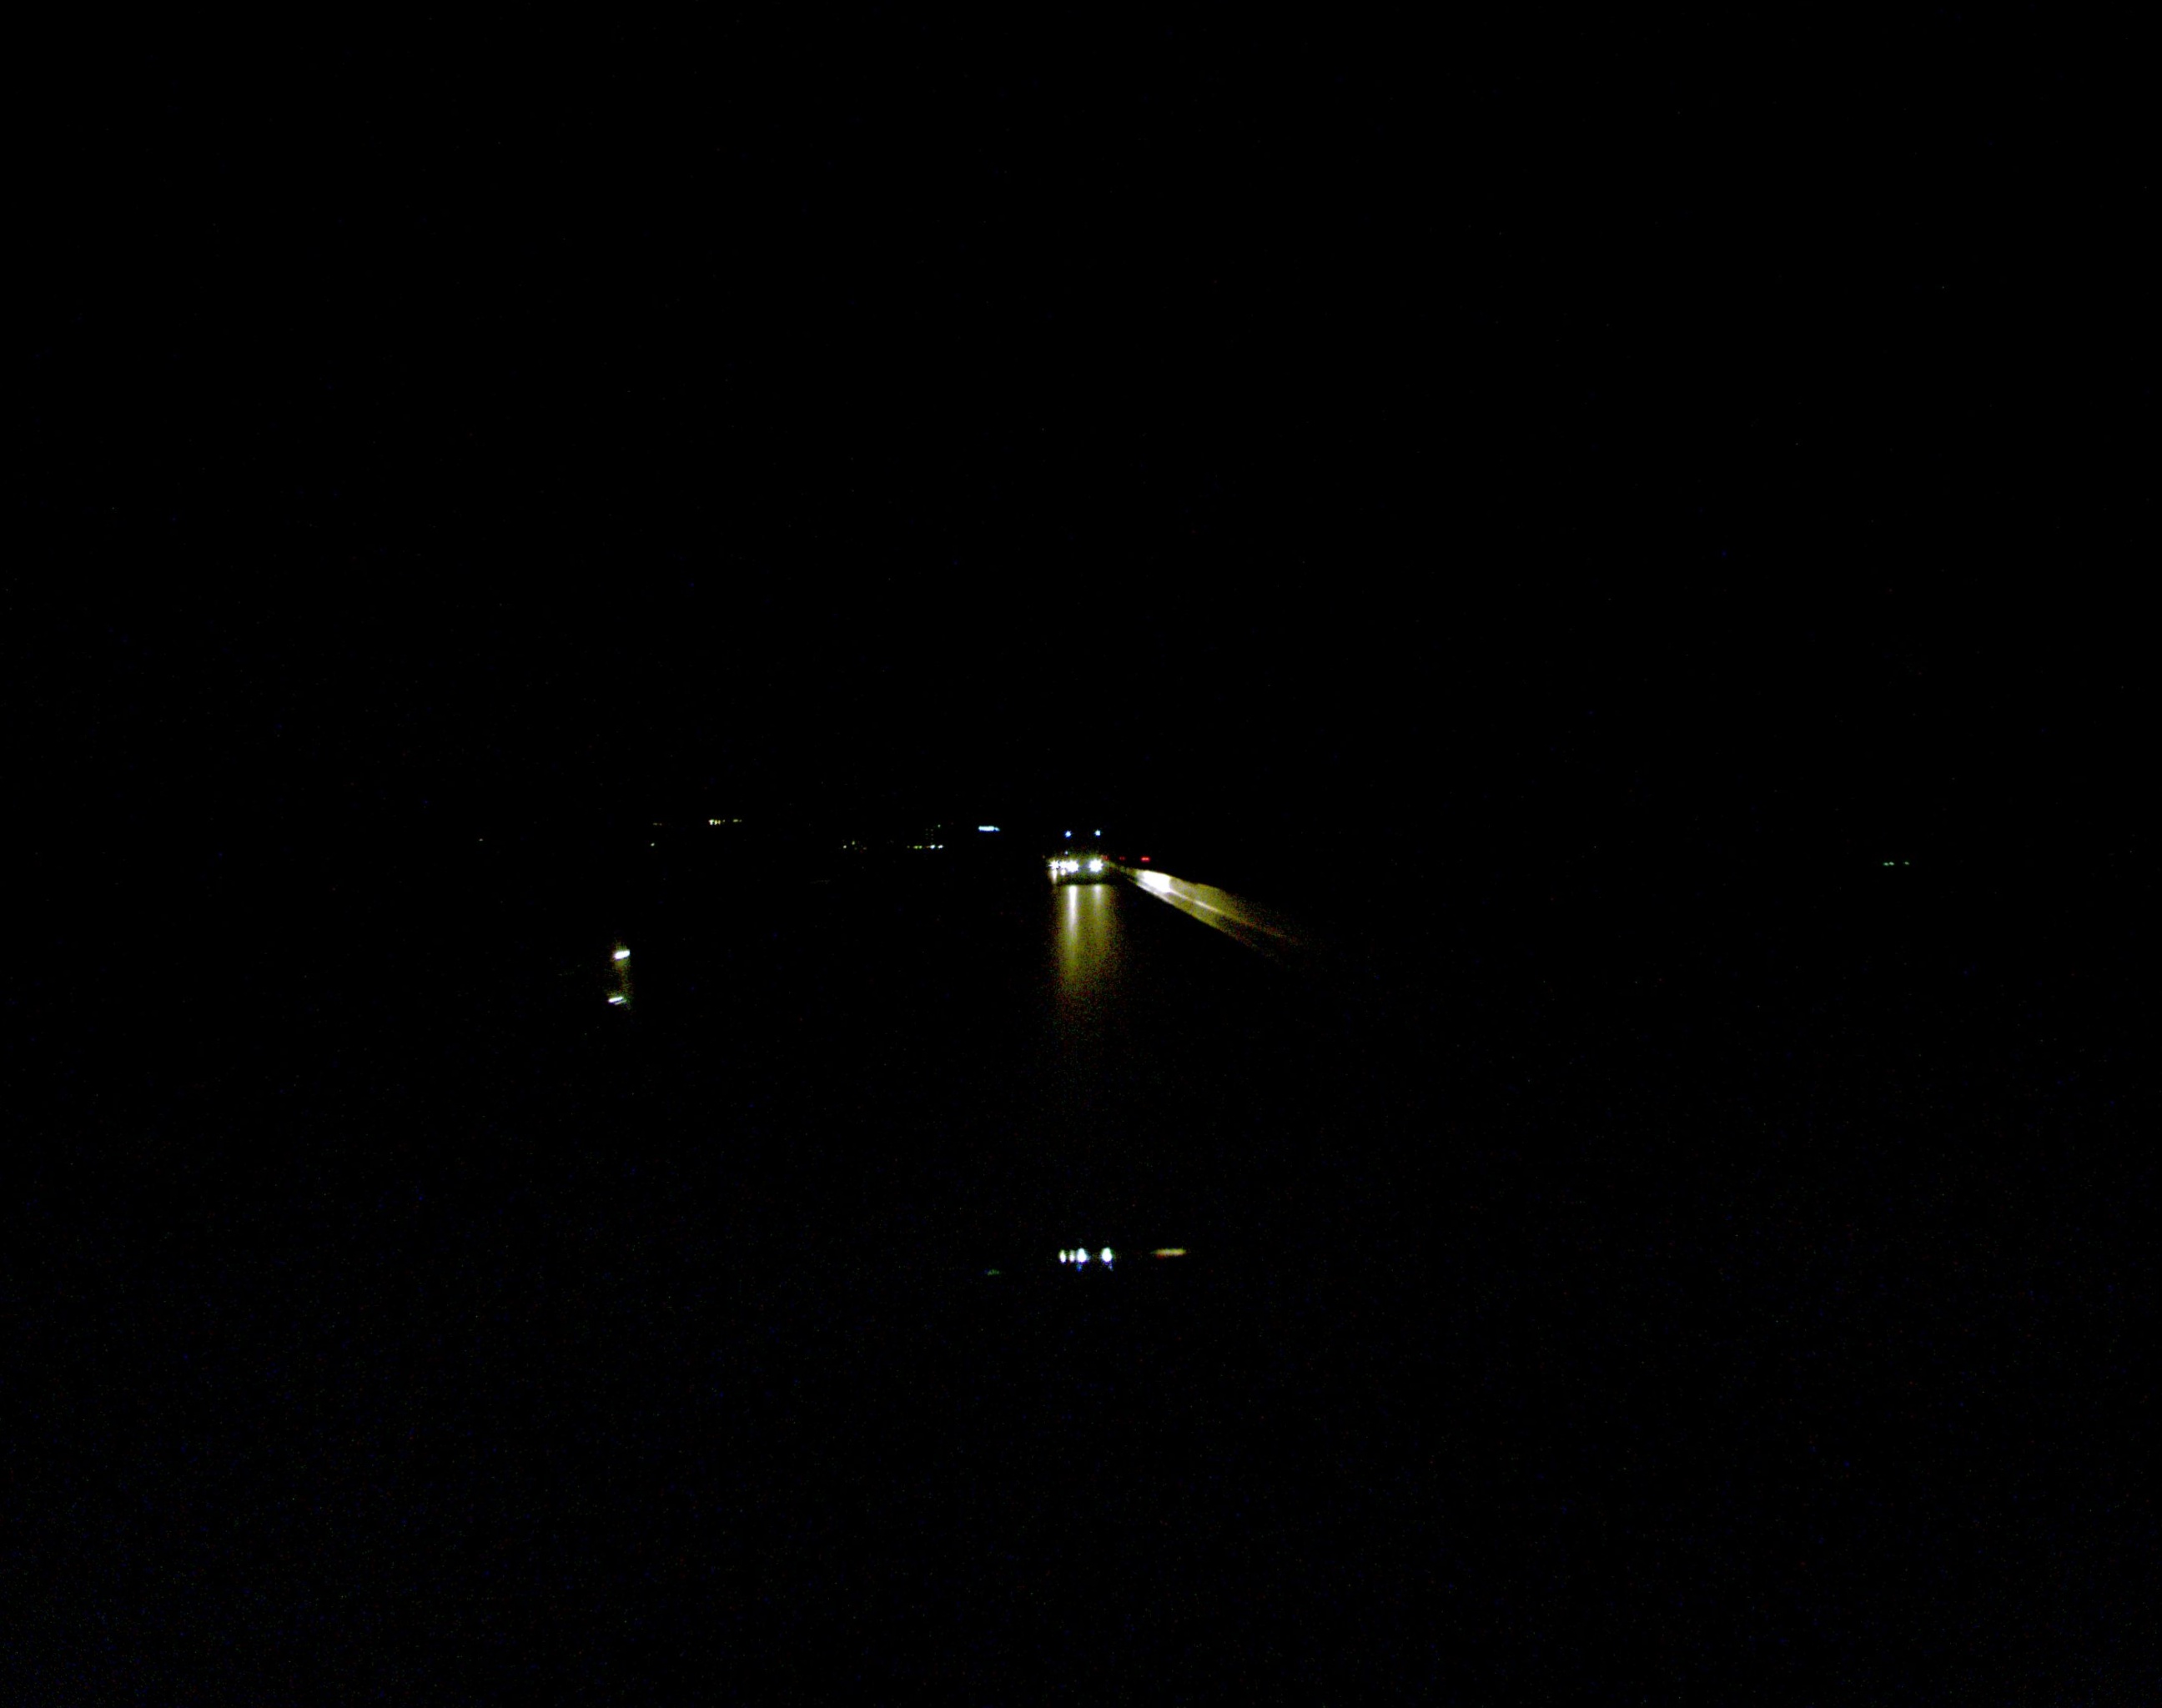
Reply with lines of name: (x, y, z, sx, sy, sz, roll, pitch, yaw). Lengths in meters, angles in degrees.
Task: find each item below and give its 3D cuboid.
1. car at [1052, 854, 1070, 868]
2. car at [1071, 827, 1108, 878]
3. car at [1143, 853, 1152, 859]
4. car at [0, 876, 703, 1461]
car: (-2.462, 0.833, 95.326, 1.998, 1.576, 4.128, -2, 0, 1)
car: (0.605, -0.120, 52.096, 2.255, 3.205, 6.878, -2, 0, 1)
car: (18.651, 0.577, 214.399, 1.999, 1.411, 4.982, 1, 0, -1)
car: (-3.954, 0.987, 3.923, 1.650, 1.587, 4.510, -1, 0, 1)
